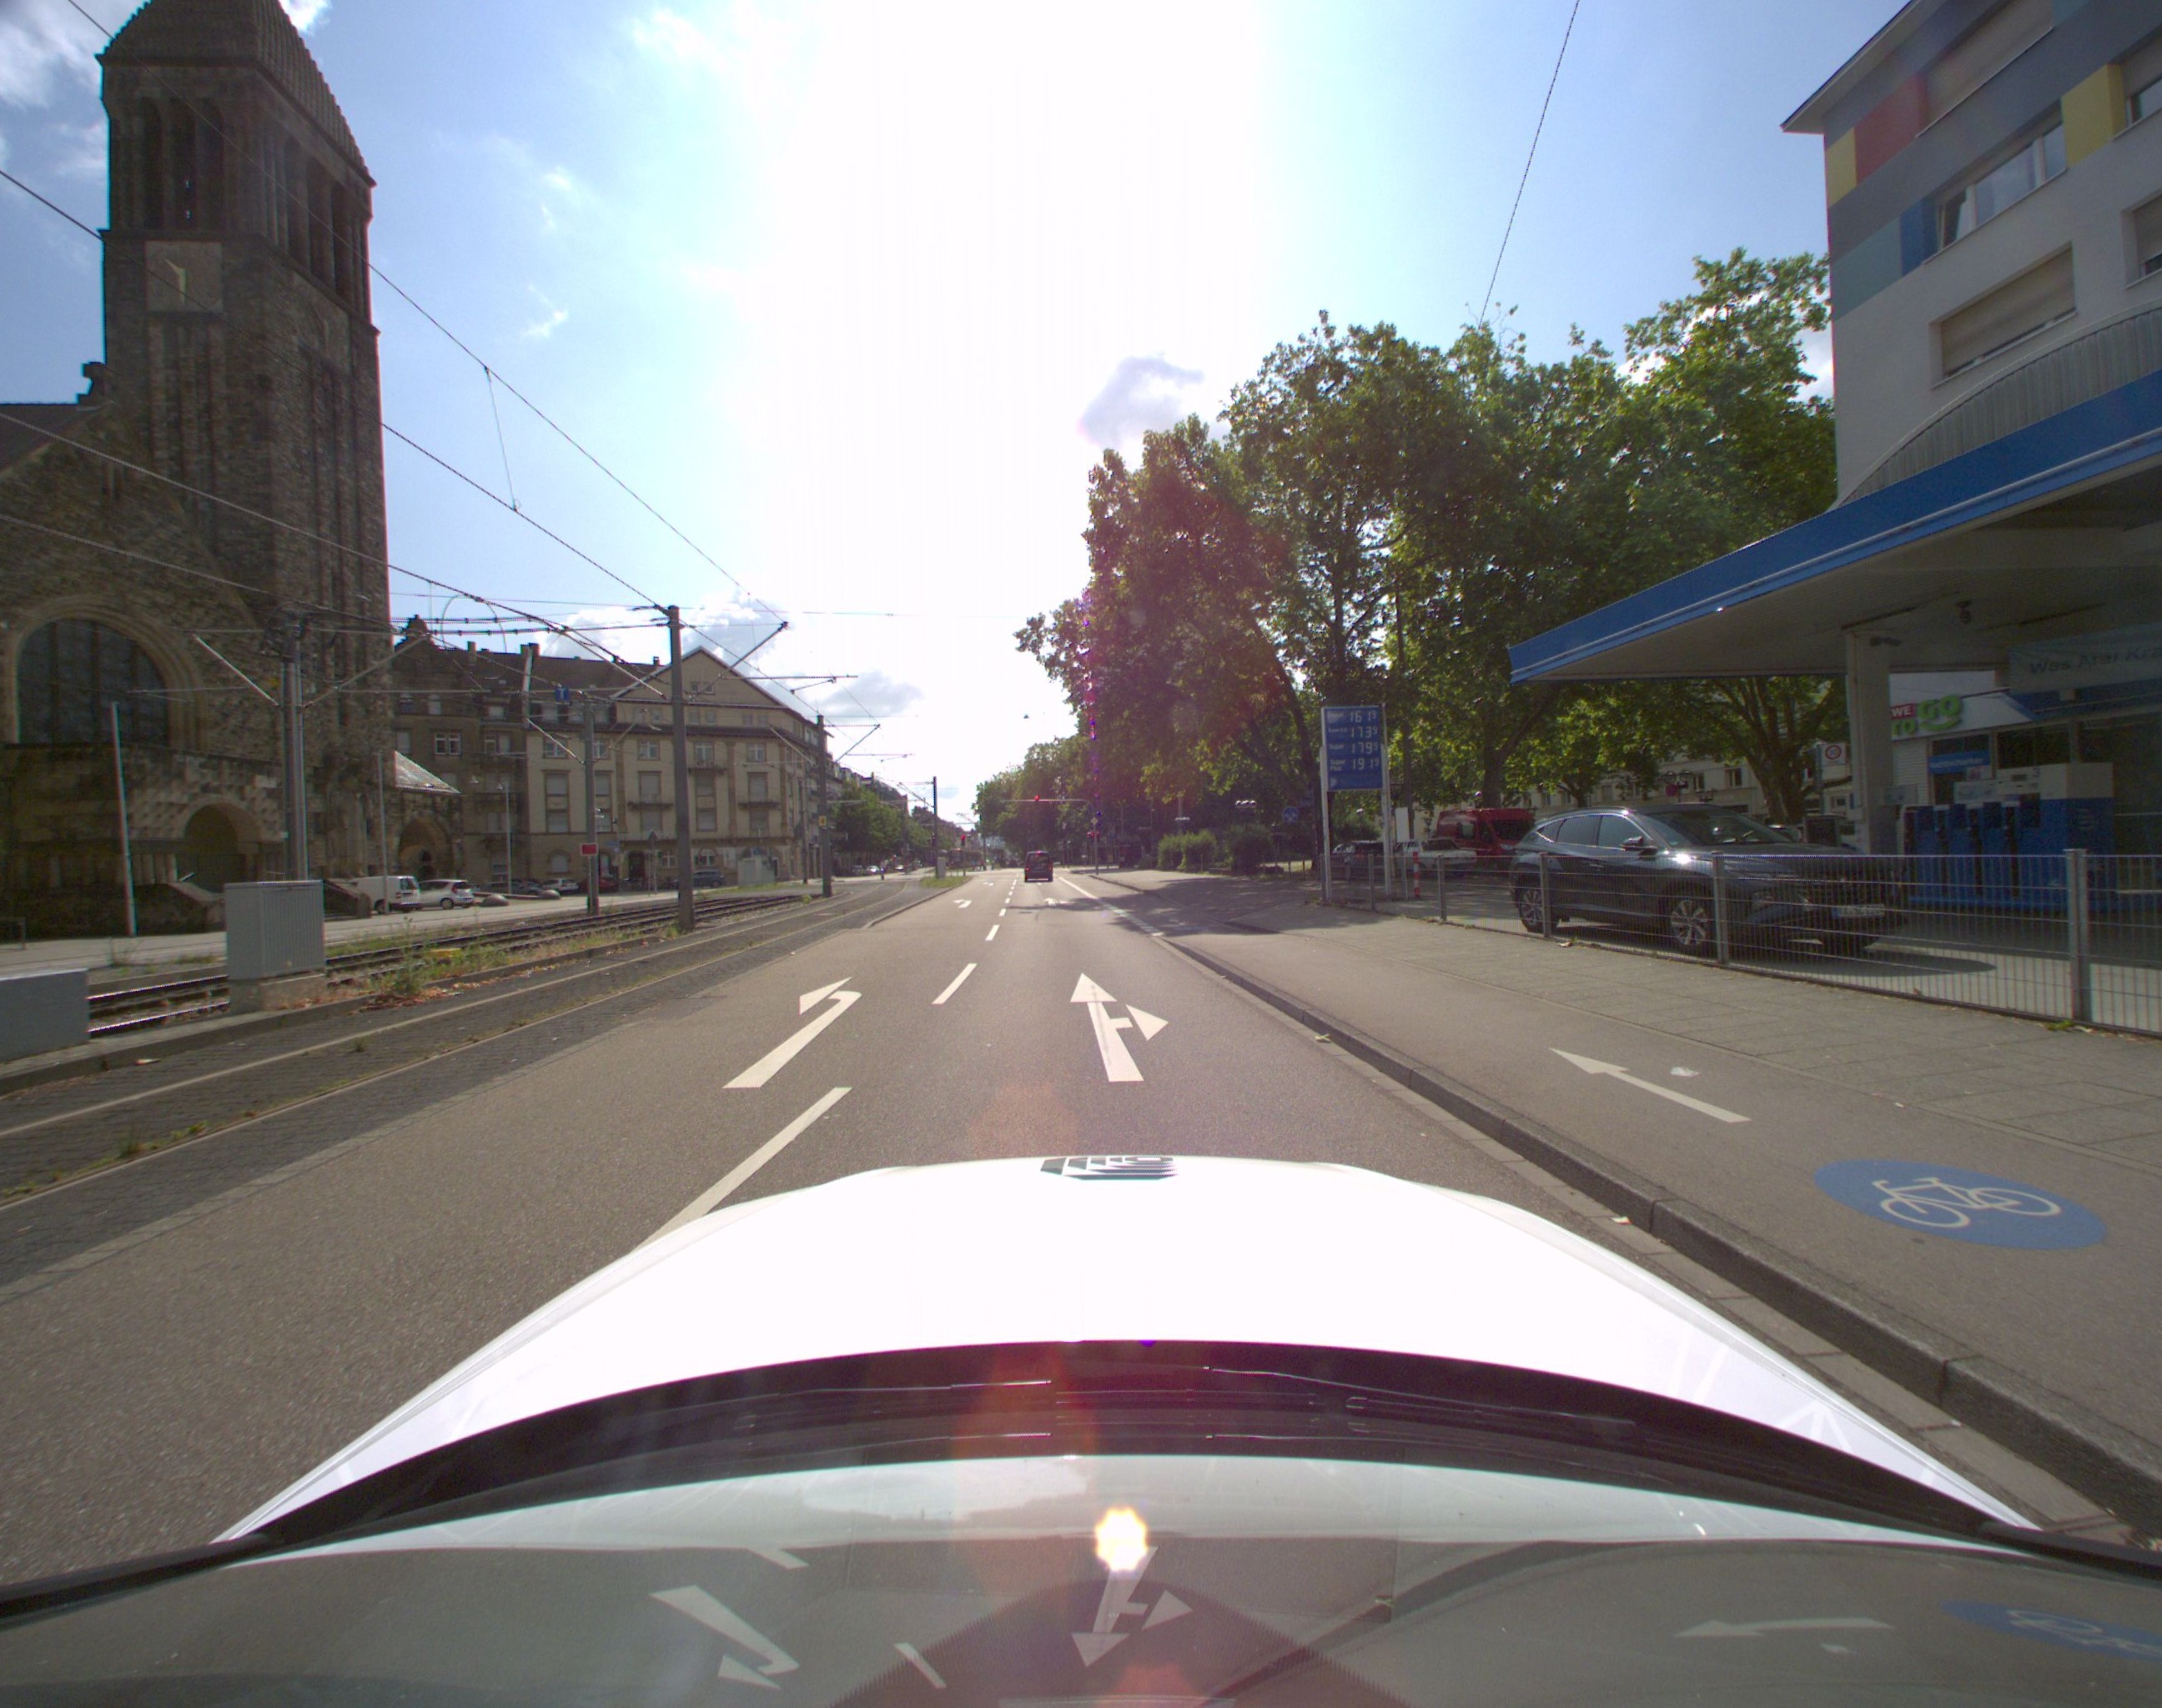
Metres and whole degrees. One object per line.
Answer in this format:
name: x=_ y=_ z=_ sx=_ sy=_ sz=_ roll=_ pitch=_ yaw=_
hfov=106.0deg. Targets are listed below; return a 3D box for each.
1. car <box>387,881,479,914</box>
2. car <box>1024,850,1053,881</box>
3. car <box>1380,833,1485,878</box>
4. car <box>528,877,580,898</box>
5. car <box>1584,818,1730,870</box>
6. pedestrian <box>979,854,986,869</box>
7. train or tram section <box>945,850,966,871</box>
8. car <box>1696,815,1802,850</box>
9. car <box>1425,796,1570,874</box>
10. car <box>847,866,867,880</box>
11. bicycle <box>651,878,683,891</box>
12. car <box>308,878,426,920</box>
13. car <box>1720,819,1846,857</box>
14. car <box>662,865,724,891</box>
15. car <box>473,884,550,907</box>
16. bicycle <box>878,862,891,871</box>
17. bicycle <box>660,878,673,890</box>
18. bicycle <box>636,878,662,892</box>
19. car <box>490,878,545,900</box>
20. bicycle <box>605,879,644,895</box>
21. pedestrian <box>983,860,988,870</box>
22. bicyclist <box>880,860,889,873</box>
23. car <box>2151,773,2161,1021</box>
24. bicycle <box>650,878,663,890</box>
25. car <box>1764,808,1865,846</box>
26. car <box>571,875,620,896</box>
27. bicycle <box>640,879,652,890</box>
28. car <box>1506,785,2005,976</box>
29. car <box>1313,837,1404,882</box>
car: x=-34.366 y=2.305 z=43.239 sx=3.261 sy=1.502 sz=1.851 roll=-3 pitch=0 yaw=-6
car: x=-2.650 y=0.706 z=50.417 sx=1.747 sy=1.809 sz=3.470 roll=-1 pitch=0 yaw=-4
car: x=12.829 y=0.071 z=30.004 sx=1.648 sy=1.470 sz=4.032 roll=-3 pitch=0 yaw=-8
car: x=-46.851 y=2.954 z=72.362 sx=3.953 sy=1.639 sz=1.812 roll=-3 pitch=0 yaw=20
car: x=21.294 y=-0.341 z=30.393 sx=2.001 sy=1.754 sz=4.648 roll=-1 pitch=0 yaw=-3
pedestrian: x=-12.023 y=0.967 z=99.409 sx=0.658 sy=1.784 sz=0.659 roll=-3 pitch=0 yaw=-4
train or tram section: x=-21.480 y=1.128 z=140.250 sx=2.236 sy=3.331 sz=12.953 roll=-3 pitch=0 yaw=-4
car: x=35.974 y=-1.134 z=43.926 sx=4.144 sy=1.636 sz=1.997 roll=-3 pitch=0 yaw=-4
car: x=15.502 y=-0.648 z=30.844 sx=2.106 sy=2.582 sz=6.013 roll=-3 pitch=0 yaw=-2
car: x=-34.068 y=2.878 z=123.846 sx=1.990 sy=2.013 sz=3.994 roll=-3 pitch=0 yaw=-4
bicycle: x=-38.653 y=2.807 z=76.077 sx=2.575 sy=1.053 sz=0.675 roll=-3 pitch=0 yaw=-32
car: x=-34.910 y=2.174 z=39.908 sx=3.867 sy=1.748 sz=1.890 roll=-3 pitch=0 yaw=-8
car: x=27.301 y=-0.598 z=31.829 sx=1.578 sy=1.363 sz=3.634 roll=-1 pitch=0 yaw=-6
car: x=-35.211 y=2.143 z=73.931 sx=4.820 sy=2.013 sz=1.981 roll=-3 pitch=0 yaw=-30
car: x=-43.569 y=3.133 z=62.396 sx=4.582 sy=1.436 sz=1.691 roll=-3 pitch=0 yaw=-28
bicycle: x=-23.814 y=1.497 z=98.704 sx=0.900 sy=1.048 sz=2.285 roll=-3 pitch=0 yaw=-32
bicycle: x=-39.512 y=2.839 z=77.562 sx=0.809 sy=1.053 sz=2.539 roll=-3 pitch=0 yaw=-33
bicycle: x=-39.568 y=2.820 z=74.584 sx=1.987 sy=1.114 sz=0.481 roll=-3 pitch=0 yaw=-41
car: x=-48.947 y=3.044 z=70.752 sx=3.953 sy=1.673 sz=2.010 roll=-3 pitch=0 yaw=20
bicycle: x=-41.996 y=3.017 z=74.914 sx=3.288 sy=1.253 sz=1.002 roll=-3 pitch=0 yaw=12
pedestrian: x=-11.765 y=1.346 z=100.297 sx=0.462 sy=1.144 sz=0.434 roll=-3 pitch=0 yaw=-4
bicyclist: x=-23.804 y=1.538 z=98.744 sx=0.783 sy=1.511 sz=0.990 roll=-3 pitch=0 yaw=-32
car: x=7.369 y=0.214 z=2.879 sx=1.803 sy=1.455 sz=3.994 roll=-2 pitch=0 yaw=-5
bicycle: x=-40.236 y=2.855 z=77.090 sx=0.809 sy=1.053 sz=2.539 roll=-3 pitch=0 yaw=-33
car: x=43.592 y=-1.594 z=48.463 sx=4.246 sy=2.013 sz=2.074 roll=-3 pitch=0 yaw=-4
car: x=-43.955 y=2.814 z=73.680 sx=3.949 sy=1.674 sz=2.012 roll=-3 pitch=0 yaw=28
bicycle: x=-40.954 y=2.871 z=76.676 sx=0.745 sy=1.053 sz=2.539 roll=-3 pitch=0 yaw=-33
car: x=7.129 y=0.229 z=9.435 sx=1.802 sy=1.602 sz=4.577 roll=-2 pitch=0 yaw=-3
car: x=10.112 y=0.187 z=30.013 sx=1.646 sy=1.470 sz=4.035 roll=-3 pitch=0 yaw=-5
